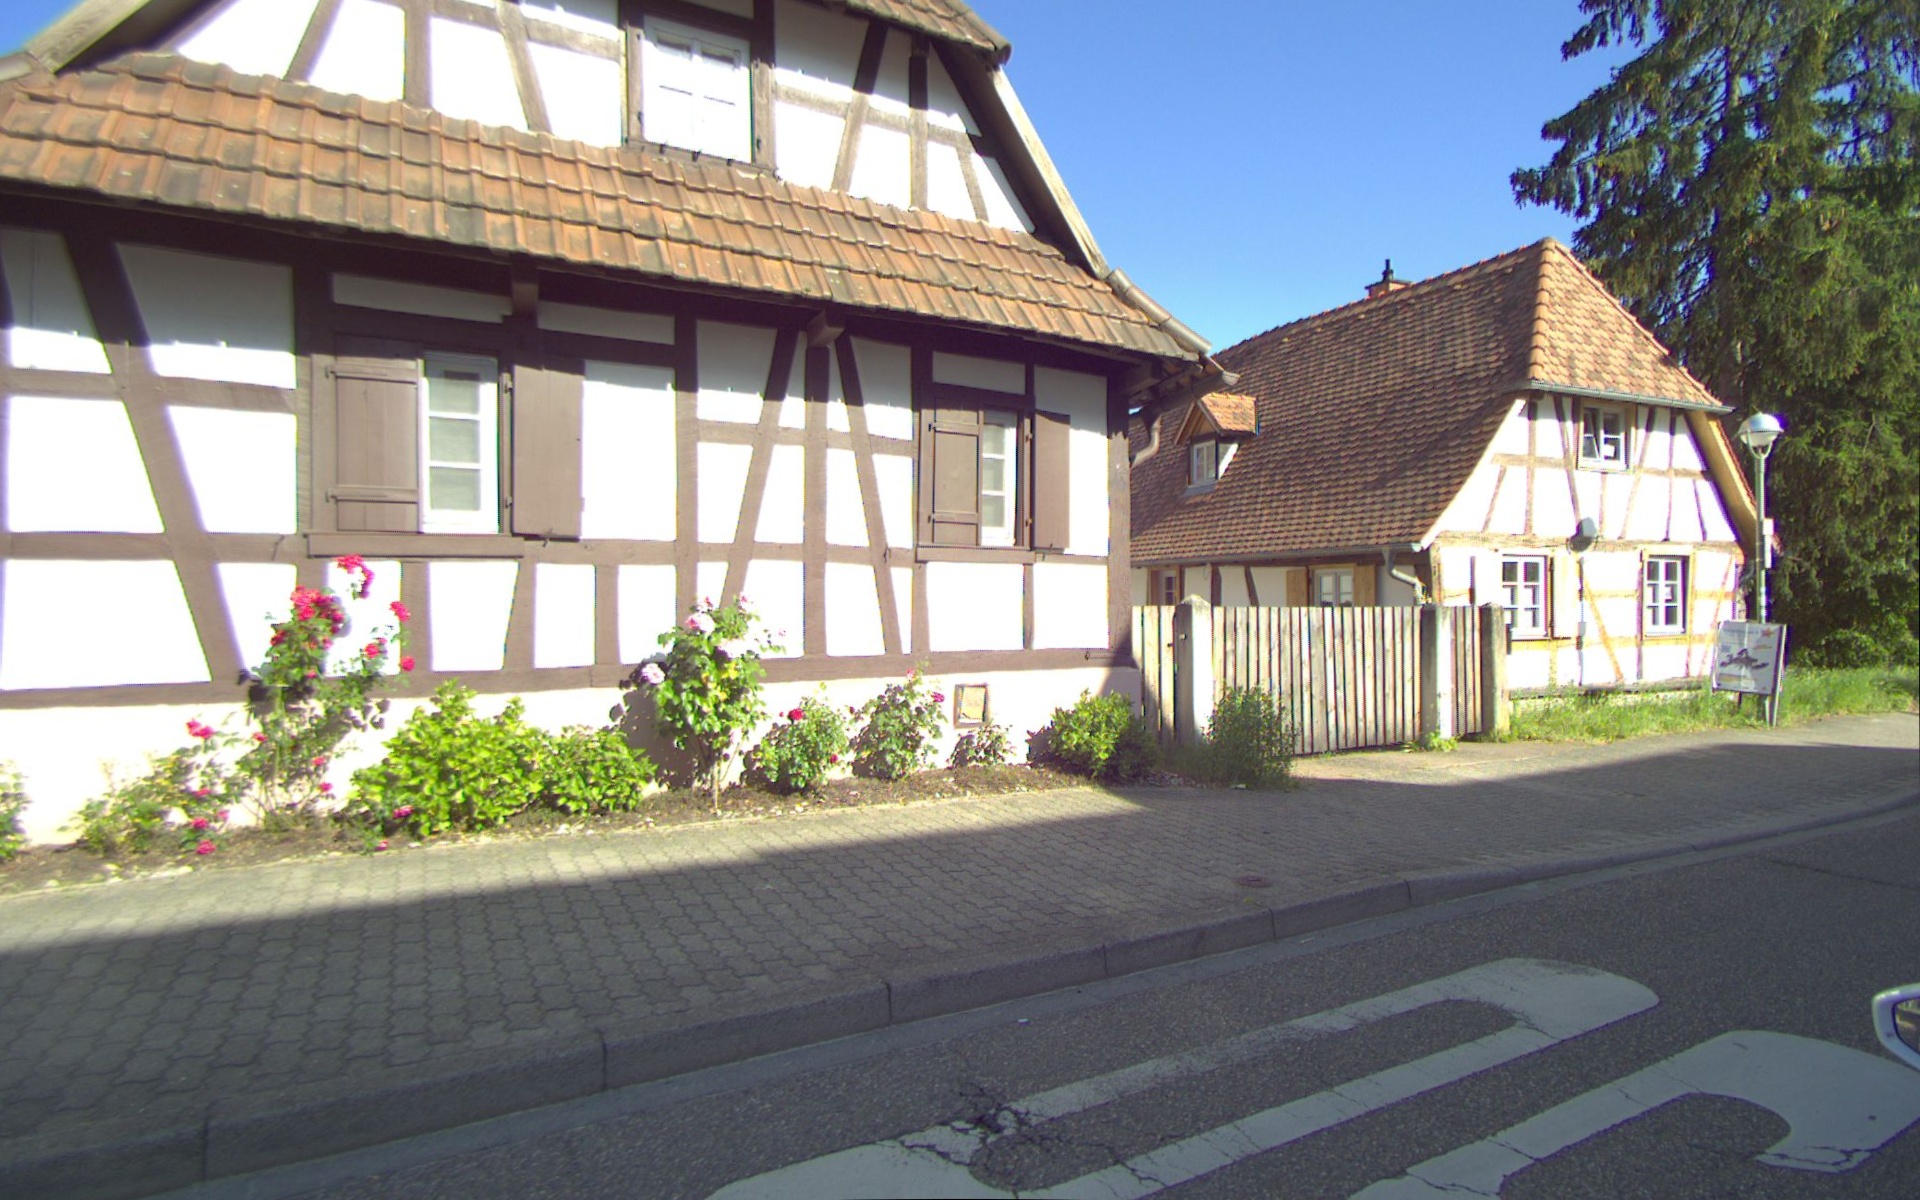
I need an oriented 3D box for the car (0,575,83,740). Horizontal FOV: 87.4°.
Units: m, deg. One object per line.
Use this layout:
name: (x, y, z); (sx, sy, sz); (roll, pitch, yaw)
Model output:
car: (-10.650, 0.553, 10.133); (1.797, 1.614, 4.086); (2, 1, -28)
